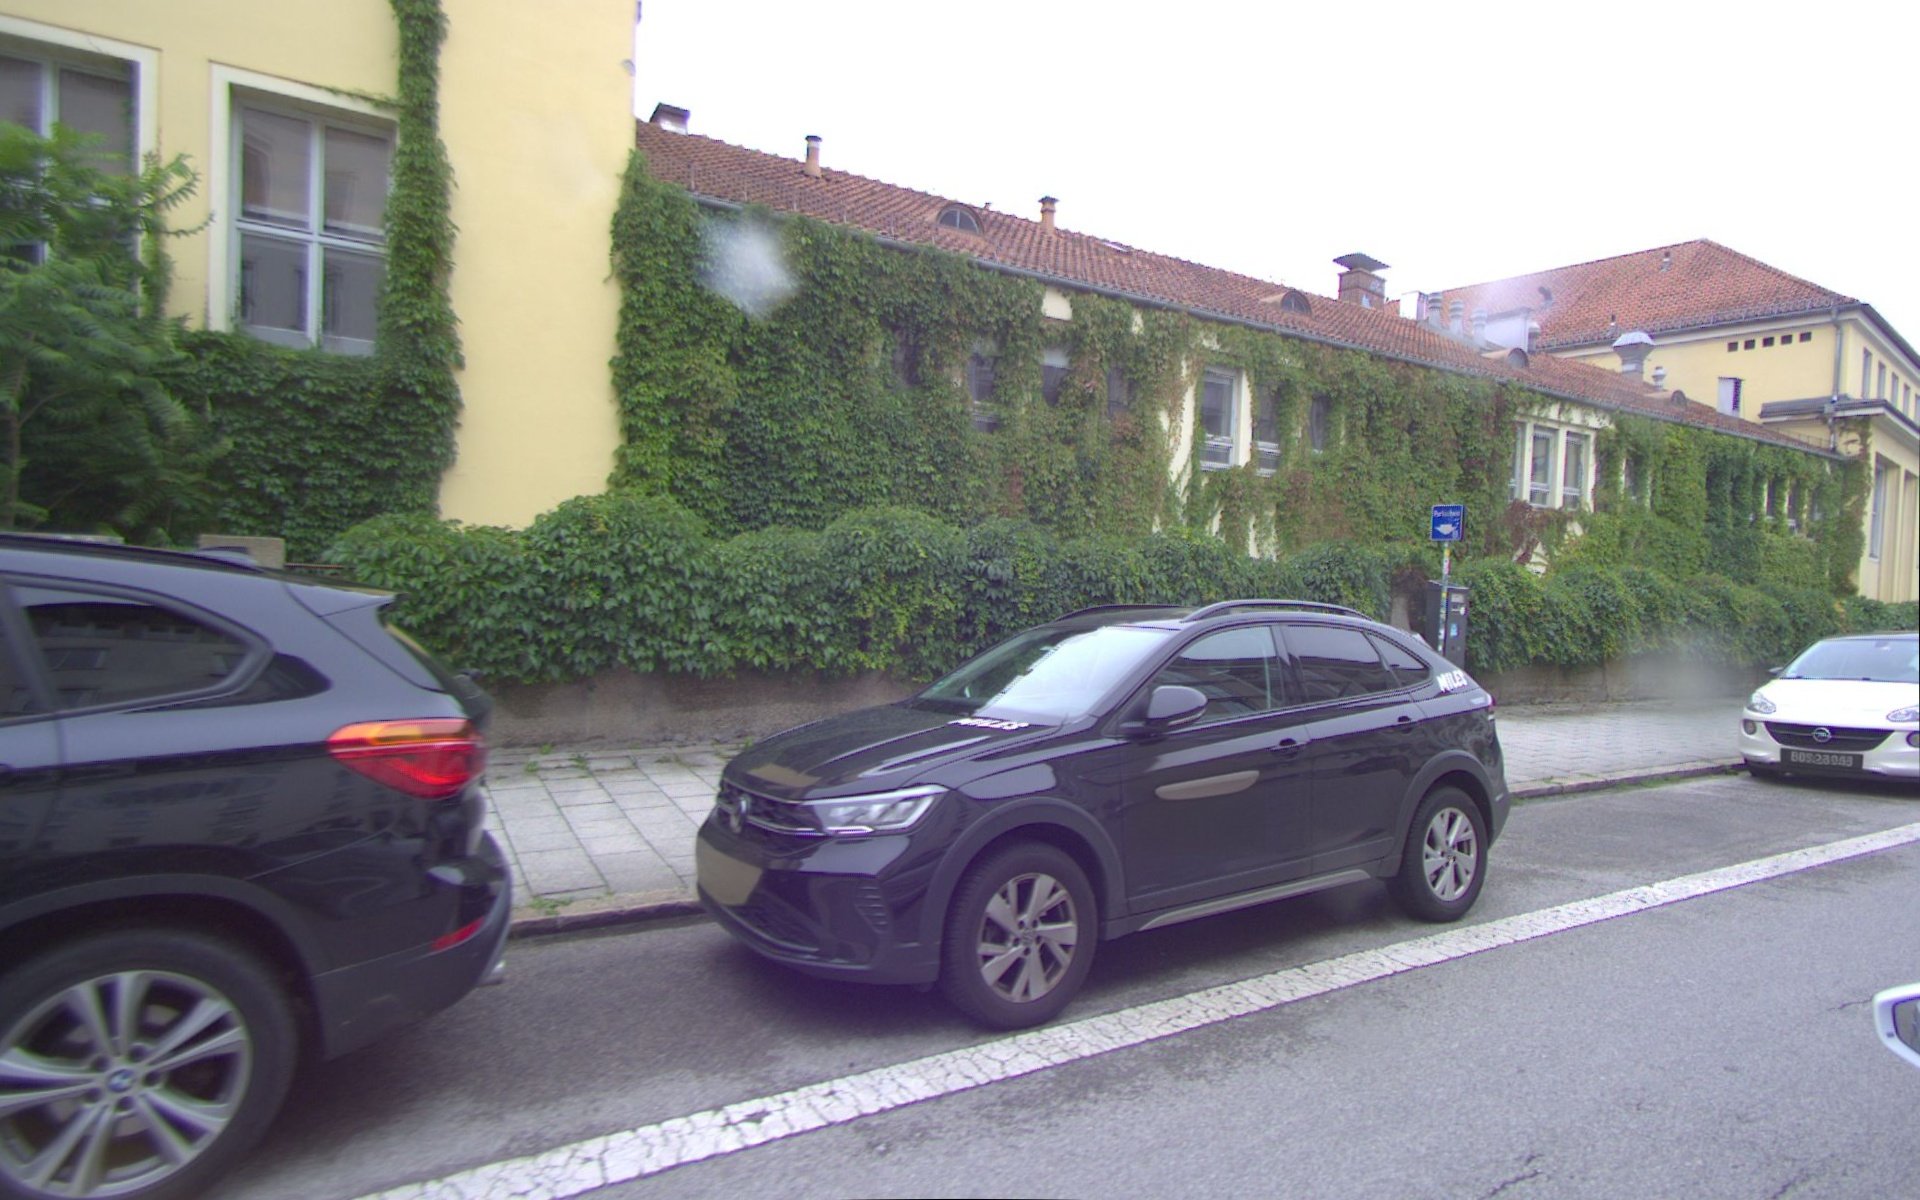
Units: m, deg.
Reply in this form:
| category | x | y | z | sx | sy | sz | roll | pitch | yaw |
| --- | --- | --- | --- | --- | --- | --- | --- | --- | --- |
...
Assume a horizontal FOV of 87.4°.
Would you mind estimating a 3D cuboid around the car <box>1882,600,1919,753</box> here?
| category | x | y | z | sx | sy | sz | roll | pitch | yaw |
| --- | --- | --- | --- | --- | --- | --- | --- | --- | --- |
| car | 13.878 | 0.934 | 12.732 | 4.824 | 1.822 | 1.884 | 1 | -3 | -31 |

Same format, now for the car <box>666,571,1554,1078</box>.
| category | x | y | z | sx | sy | sz | roll | pitch | yaw |
| --- | --- | --- | --- | --- | --- | --- | --- | --- | --- |
| car | 0.905 | 0.740 | 4.861 | 4.175 | 1.500 | 1.708 | 1 | -3 | -33 |

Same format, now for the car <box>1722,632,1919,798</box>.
| category | x | y | z | sx | sy | sz | roll | pitch | yaw |
| --- | --- | --- | --- | --- | --- | --- | --- | --- | --- |
| car | 9.481 | 1.048 | 10.186 | 3.519 | 1.428 | 1.658 | 1 | -2 | -32 |

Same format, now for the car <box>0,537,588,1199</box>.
| category | x | y | z | sx | sy | sz | roll | pitch | yaw |
| --- | --- | --- | --- | --- | --- | --- | --- | --- | --- |
| car | -3.278 | 0.622 | 2.419 | 4.225 | 1.522 | 1.760 | 1 | -1 | -31 |
